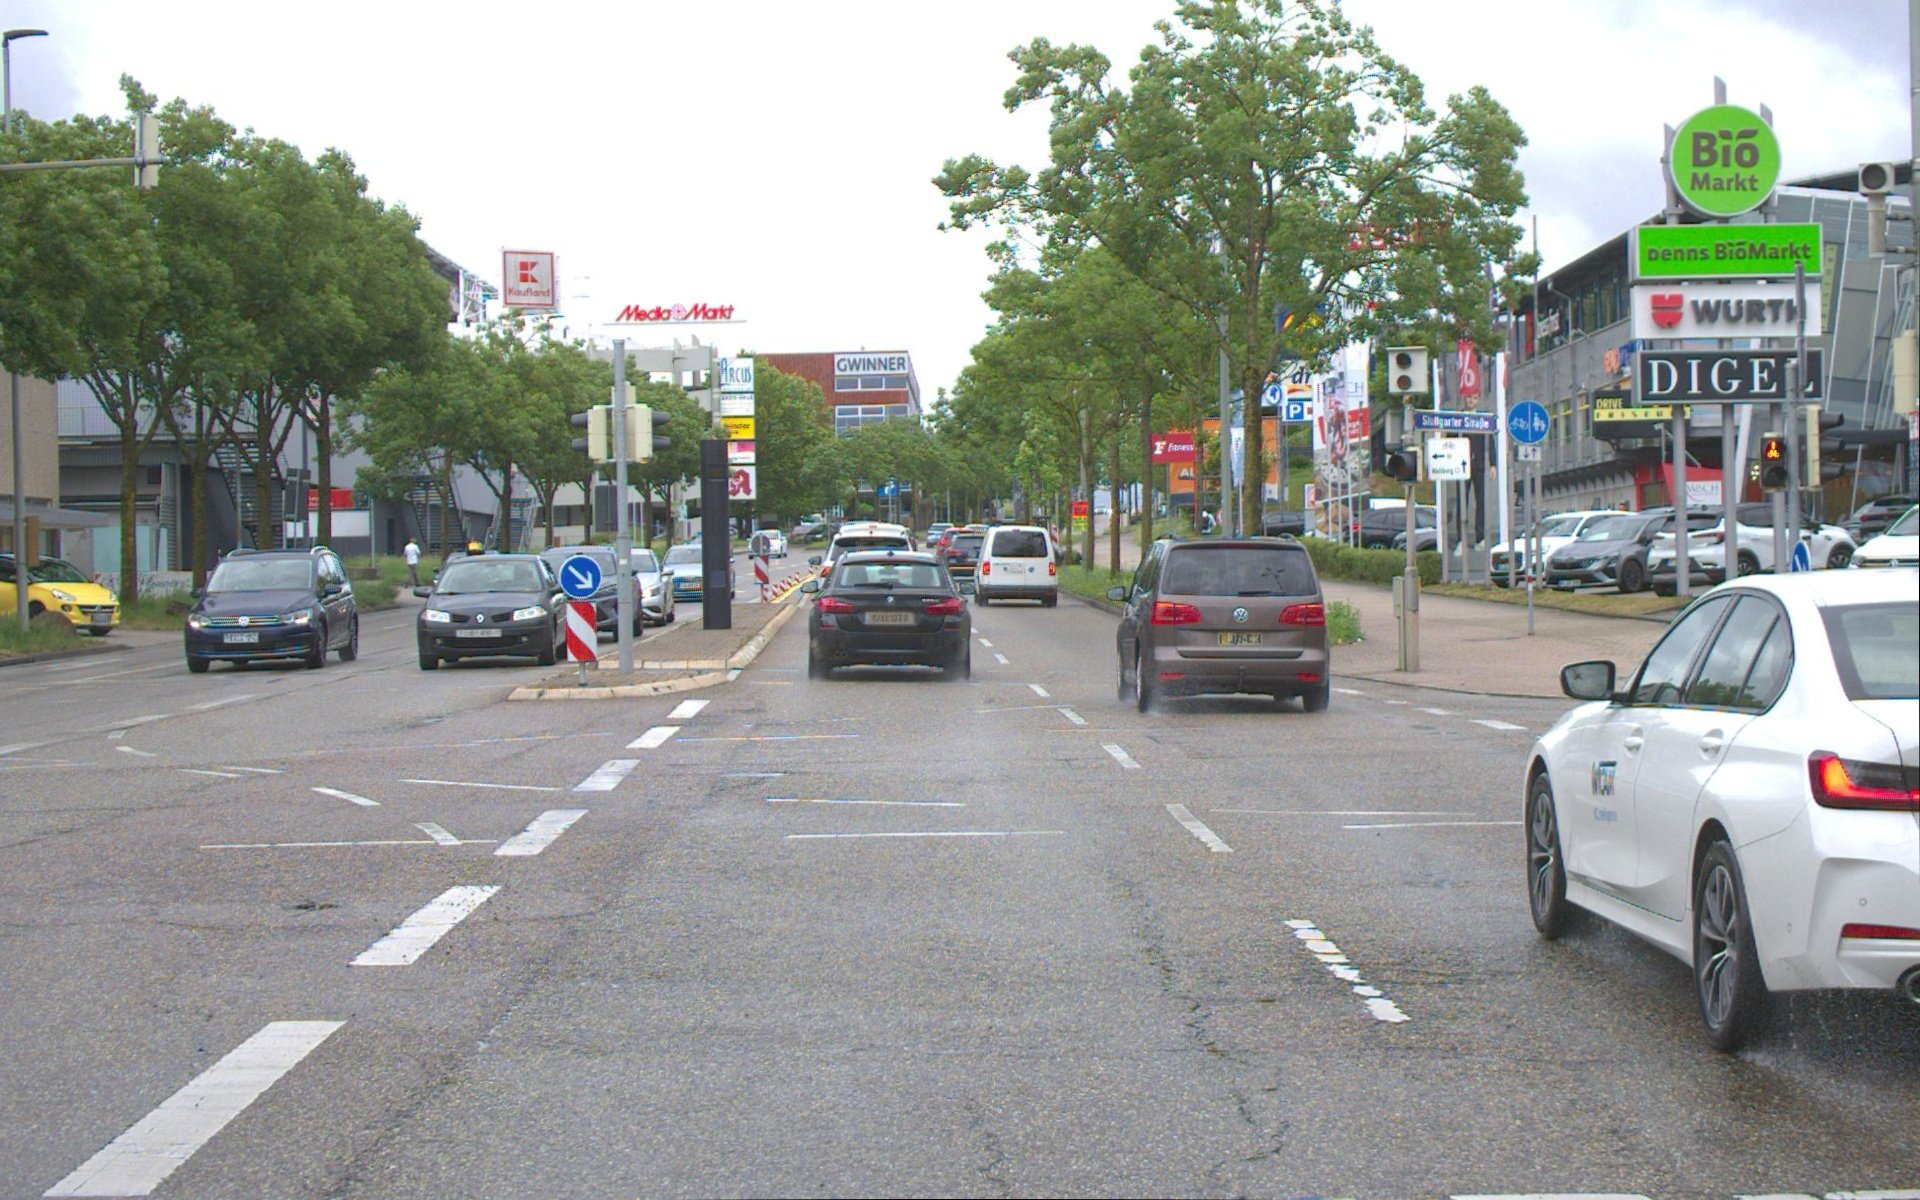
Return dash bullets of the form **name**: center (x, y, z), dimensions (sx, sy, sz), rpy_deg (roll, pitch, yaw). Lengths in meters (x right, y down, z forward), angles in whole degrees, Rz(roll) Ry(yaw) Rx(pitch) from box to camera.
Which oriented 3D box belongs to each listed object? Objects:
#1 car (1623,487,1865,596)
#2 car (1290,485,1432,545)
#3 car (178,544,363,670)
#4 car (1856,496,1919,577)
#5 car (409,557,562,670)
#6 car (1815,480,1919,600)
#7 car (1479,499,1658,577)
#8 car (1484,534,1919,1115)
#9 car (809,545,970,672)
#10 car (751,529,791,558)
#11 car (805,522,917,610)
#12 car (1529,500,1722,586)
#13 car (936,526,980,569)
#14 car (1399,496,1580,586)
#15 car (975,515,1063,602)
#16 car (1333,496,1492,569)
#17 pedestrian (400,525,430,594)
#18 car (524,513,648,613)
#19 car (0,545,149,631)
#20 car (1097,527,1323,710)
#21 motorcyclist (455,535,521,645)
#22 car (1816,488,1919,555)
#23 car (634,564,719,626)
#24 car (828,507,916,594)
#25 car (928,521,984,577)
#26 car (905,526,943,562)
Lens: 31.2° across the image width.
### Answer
- **car**: center (13.525, -1.014, 59.211), dimensions (4.016, 1.657, 1.982), rpy_deg (-4, 3, -40)
- **car**: center (11.837, -2.515, 101.573), dimensions (4.111, 1.697, 1.799), rpy_deg (-1, 1, 6)
- **car**: center (-9.404, 0.061, 47.189), dimensions (1.910, 1.603, 4.364), rpy_deg (-1, 1, -4)
- **car**: center (21.382, -1.403, 74.772), dimensions (3.964, 1.714, 1.633), rpy_deg (-2, 1, -40)
- **car**: center (-6.163, 0.141, 44.982), dimensions (1.682, 1.372, 4.001), rpy_deg (-1, 1, -4)
- **car**: center (13.604, -0.849, 47.037), dimensions (1.930, 1.571, 4.278), rpy_deg (-1, 1, 41)
- **car**: center (12.865, -1.311, 72.657), dimensions (3.589, 1.530, 1.796), rpy_deg (-3, 2, -40)
- **car**: center (3.077, 0.585, 11.460), dimensions (1.801, 1.539, 4.620), rpy_deg (1, 1, -2)
- **car**: center (-0.810, 0.071, 40.038), dimensions (1.781, 1.393, 4.000), rpy_deg (0, 1, -1)
- **car**: center (-9.666, -2.900, 175.936), dimensions (1.943, 1.443, 4.000), rpy_deg (0, 1, -1)
- **car**: center (-1.676, -0.574, 57.221), dimensions (1.682, 1.372, 4.001), rpy_deg (-1, 1, -4)
- **car**: center (12.587, -1.082, 64.958), dimensions (3.588, 1.530, 1.643), rpy_deg (-2, 1, -40)
- **car**: center (-0.089, -2.078, 135.790), dimensions (1.695, 1.438, 3.990), rpy_deg (-1, 4, 0)
- **car**: center (12.815, -1.437, 83.399), dimensions (4.111, 2.098, 1.799), rpy_deg (-1, 1, 1)
- **car**: center (1.300, -0.933, 77.363), dimensions (1.782, 1.860, 4.000), rpy_deg (-1, 1, -1)
- **car**: center (12.412, -1.857, 94.453), dimensions (4.111, 1.898, 1.799), rpy_deg (-2, 1, 1)
- **pedestrian**: center (-17.537, -1.298, 110.658), dimensions (0.858, 2.210, 0.846), rpy_deg (-1, 1, -3)
- **car**: center (-5.926, -0.601, 54.857), dimensions (1.744, 1.484, 4.830), rpy_deg (-1, 1, -4)
- **car**: center (-17.716, -0.221, 66.041), dimensions (3.994, 1.546, 1.896), rpy_deg (-1, 1, 34)
- **car**: center (2.286, 0.125, 32.477), dimensions (1.801, 1.581, 4.451), rpy_deg (1, 1, 0)
- **motorcyclist**: center (-6.802, -0.158, 49.587), dimensions (0.806, 1.554, 1.268), rpy_deg (-1, 1, -2)
- **car**: center (21.588, -1.818, 78.349), dimensions (4.143, 1.463, 1.831), rpy_deg (-3, 2, -38)
- **car**: center (-7.018, -0.144, 85.373), dimensions (1.723, 1.393, 4.789), rpy_deg (-3, 1, -1)
- **car**: center (-2.078, -1.162, 82.259), dimensions (1.993, 2.007, 4.000), rpy_deg (1, 0, 0)
- **car**: center (-0.113, -1.556, 105.842), dimensions (1.685, 1.678, 3.403), rpy_deg (1, 0, 0)
- **car**: center (-1.573, -2.426, 149.746), dimensions (1.619, 1.490, 3.360), rpy_deg (1, 0, -1)
